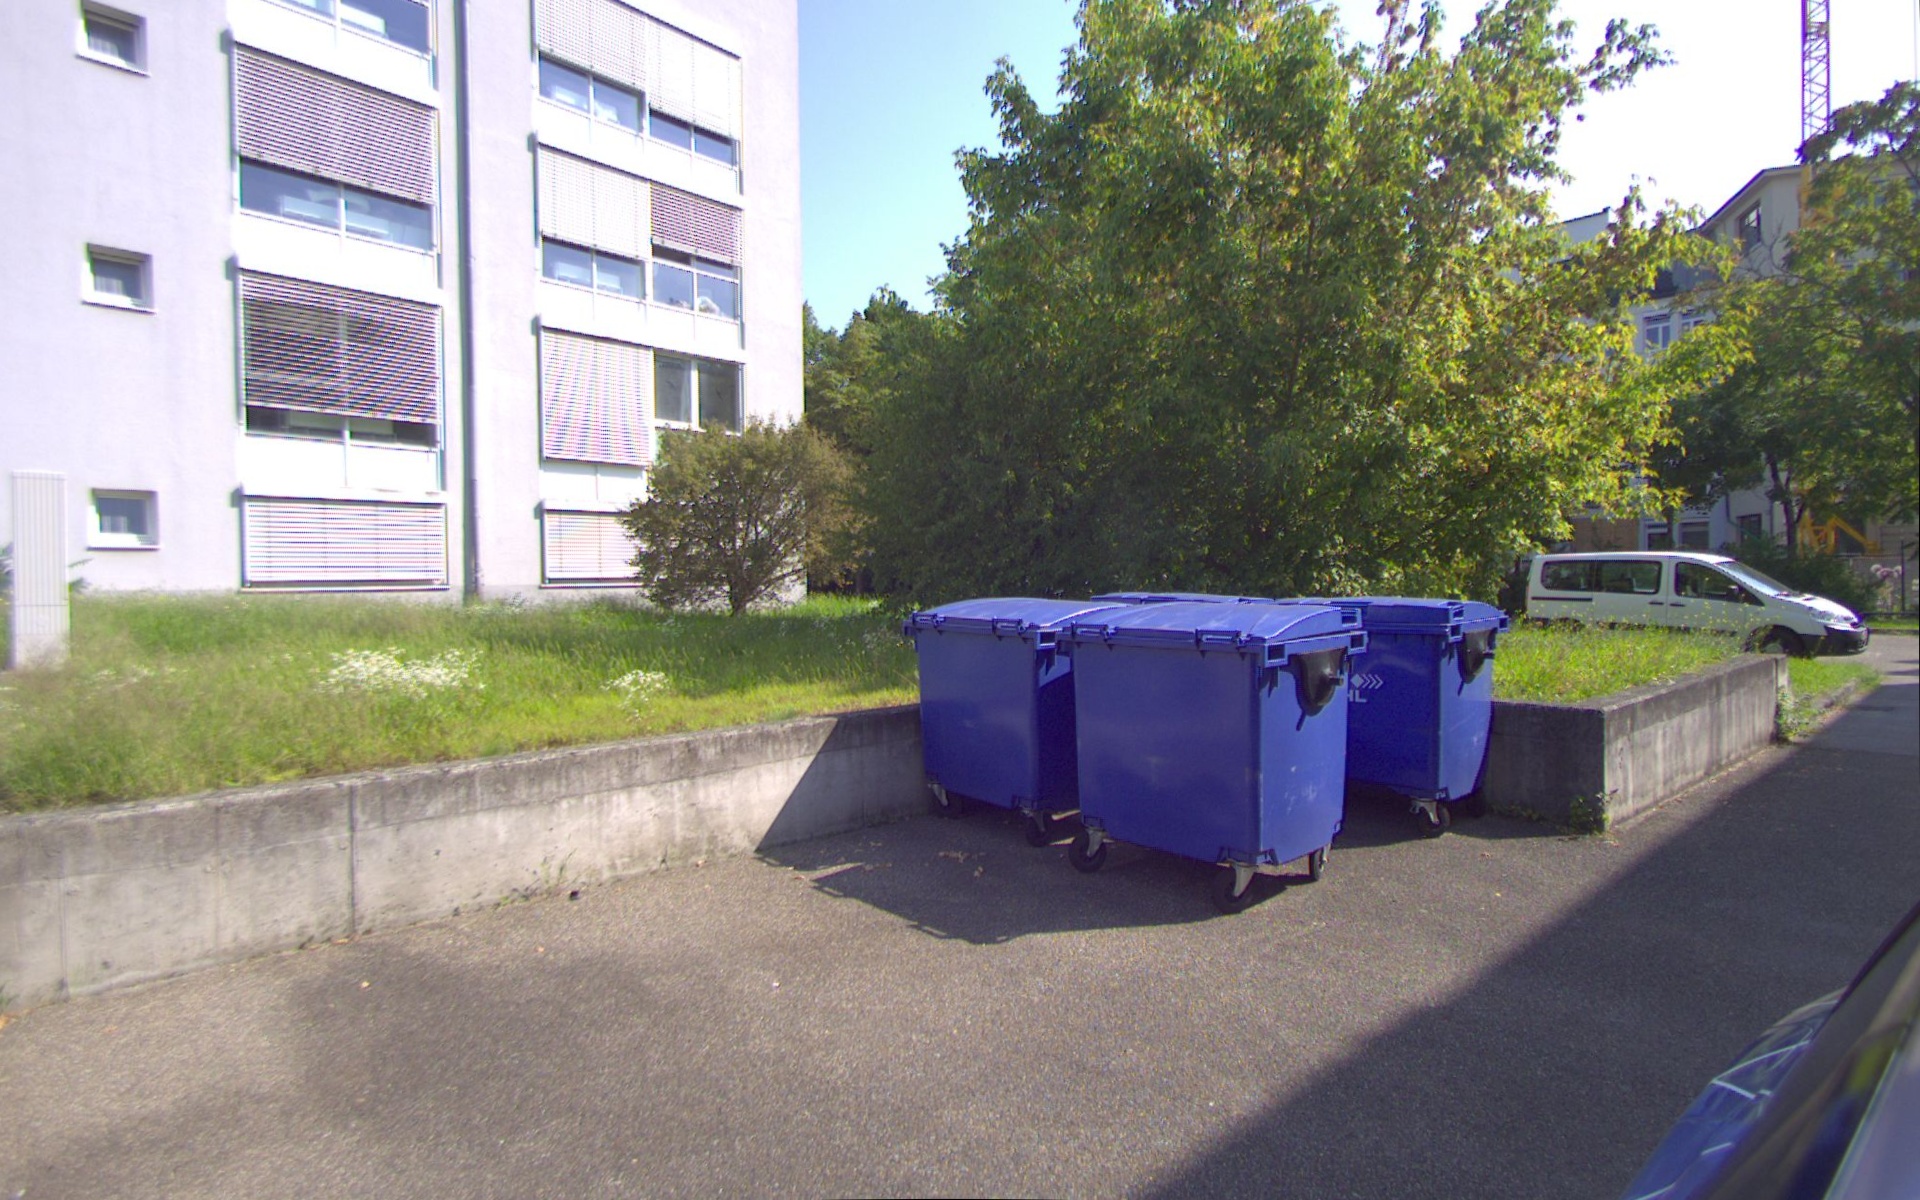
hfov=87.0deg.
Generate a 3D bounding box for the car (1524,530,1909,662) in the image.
[{"bbox_3d":[12.843,-0.058,17.504,2.008,1.944,4.966,-3,1,-40],"label":"car"}]

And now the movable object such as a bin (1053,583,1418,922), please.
[{"bbox_3d":[1.359,0.628,5.039,1.175,1.357,1.301,-3,1,-43],"label":"movable object such as a bin"}]

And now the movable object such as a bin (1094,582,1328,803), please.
[{"bbox_3d":[1.778,0.585,7.184,1.226,1.357,1.060,-1,1,44],"label":"movable object such as a bin"}]

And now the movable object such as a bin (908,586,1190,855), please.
[{"bbox_3d":[0.513,0.623,6.066,1.097,1.357,1.237,-3,1,-38],"label":"movable object such as a bin"}]

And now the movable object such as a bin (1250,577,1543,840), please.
[{"bbox_3d":[2.651,0.572,6.176,1.083,1.357,1.309,-3,1,-45],"label":"movable object such as a bin"}]
